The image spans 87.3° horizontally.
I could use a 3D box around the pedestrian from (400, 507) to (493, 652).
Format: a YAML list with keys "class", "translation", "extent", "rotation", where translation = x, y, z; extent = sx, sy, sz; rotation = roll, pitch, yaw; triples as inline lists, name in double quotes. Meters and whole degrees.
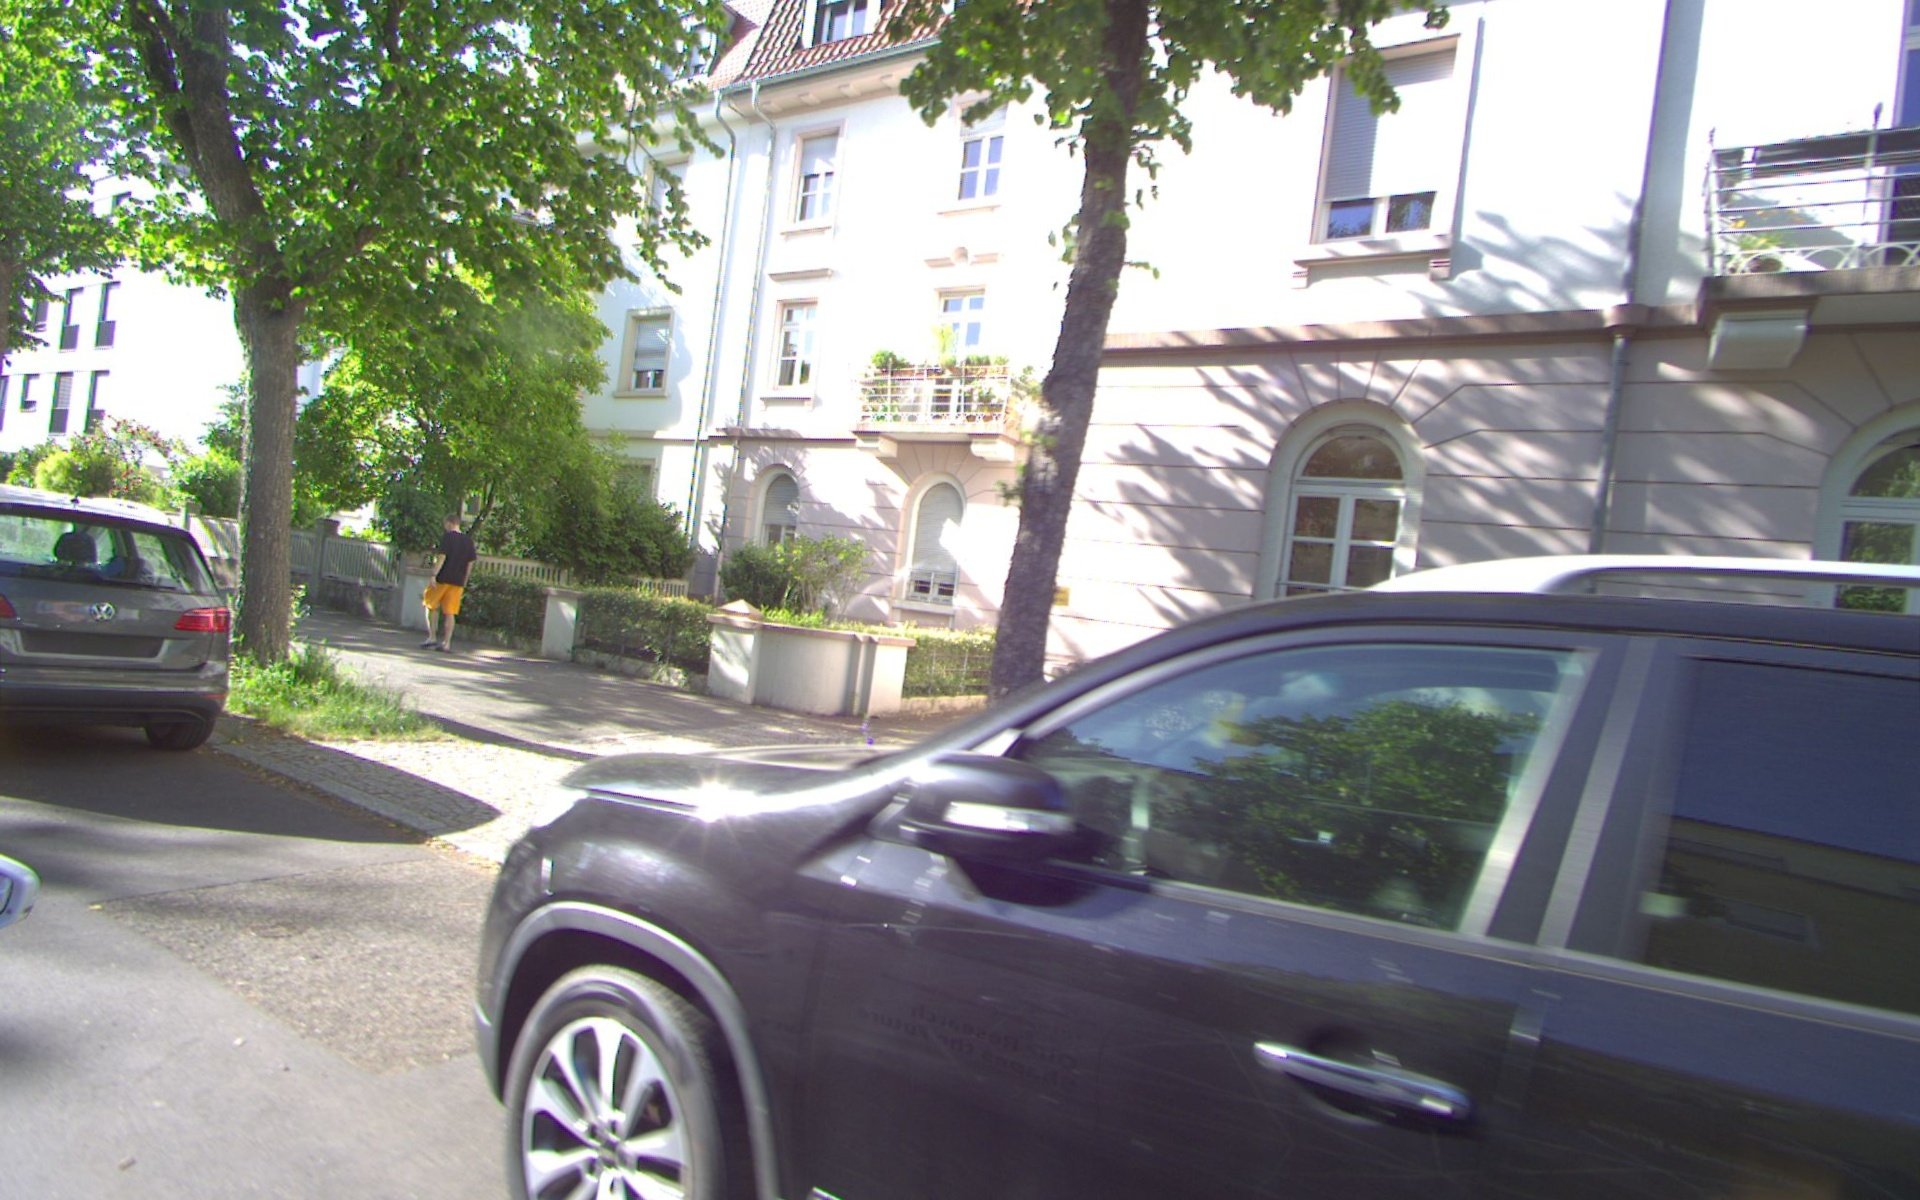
- class: "pedestrian"
  translation: [-6.761, -0.267, 13.245]
  extent: [0.786, 1.797, 0.623]
  rotation: [7, 1, 32]

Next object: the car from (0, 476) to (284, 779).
- class: "car"
  translation: [-6.780, -0.027, 6.878]
  extent: [4.459, 1.605, 1.688]
  rotation: [7, -2, 31]

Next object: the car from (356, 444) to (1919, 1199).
- class: "car"
  translation: [0.896, 0.772, 2.038]
  extent: [4.226, 1.719, 1.783]
  rotation: [7, 0, 32]
